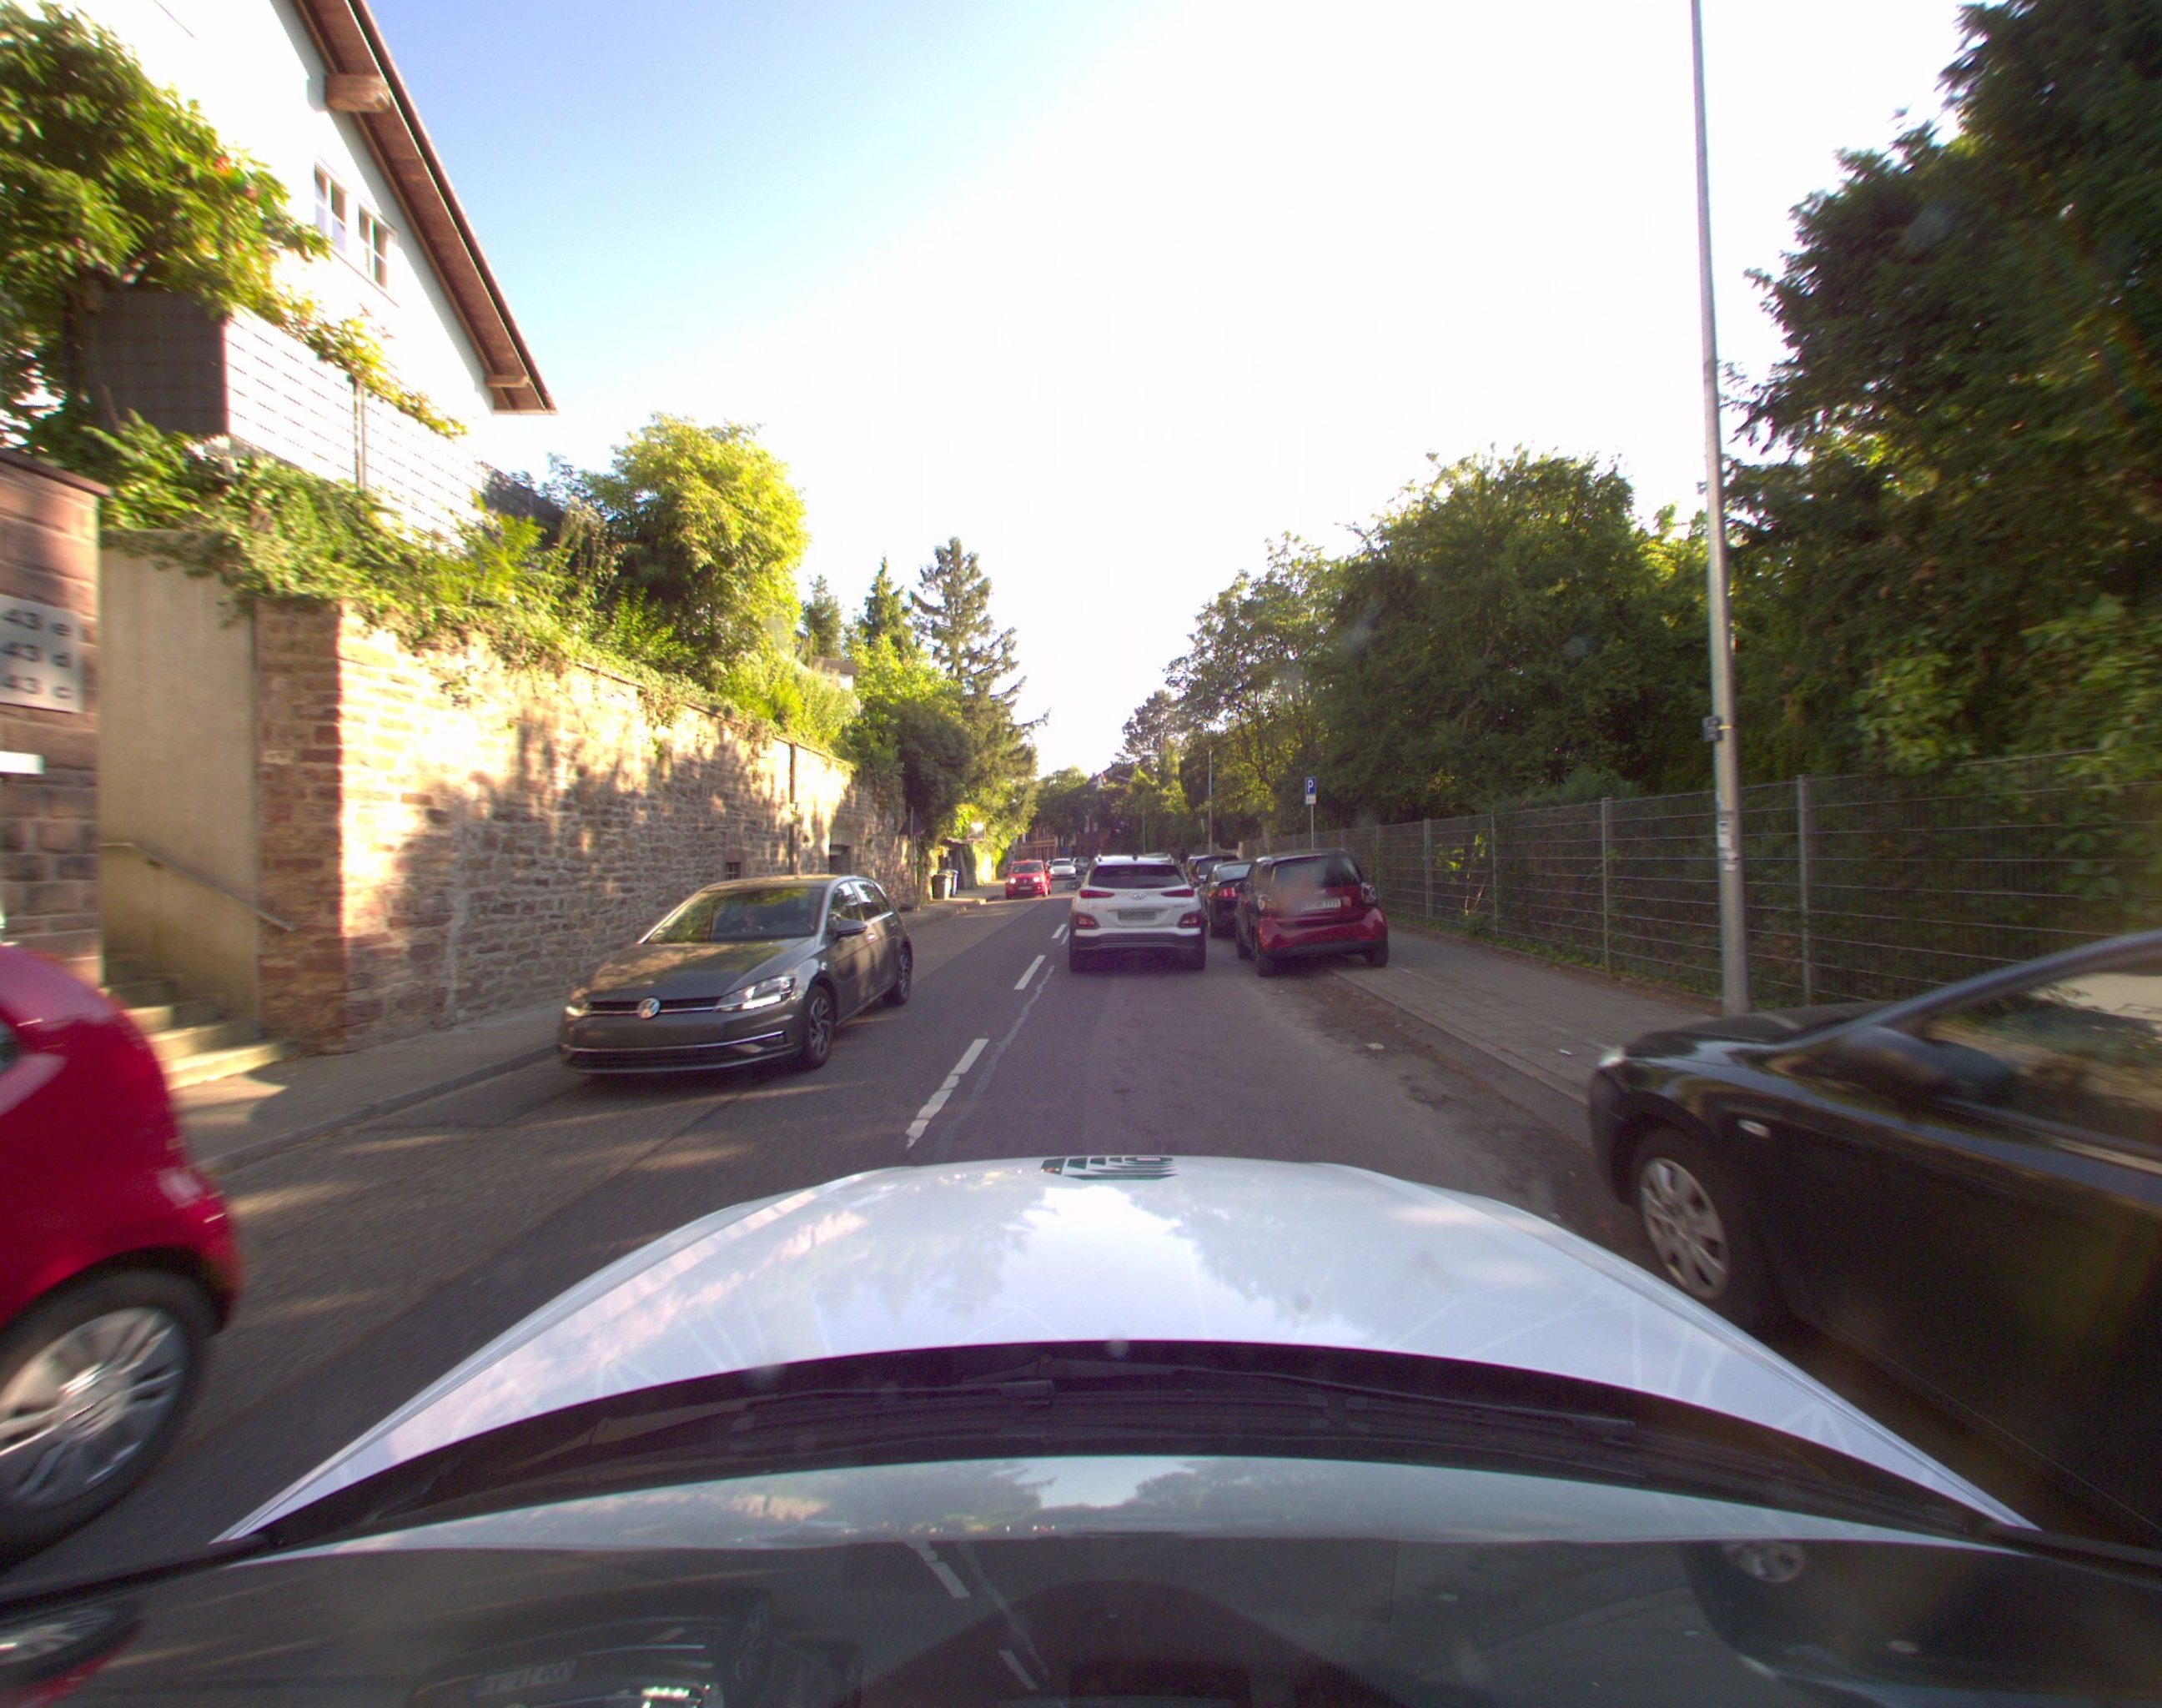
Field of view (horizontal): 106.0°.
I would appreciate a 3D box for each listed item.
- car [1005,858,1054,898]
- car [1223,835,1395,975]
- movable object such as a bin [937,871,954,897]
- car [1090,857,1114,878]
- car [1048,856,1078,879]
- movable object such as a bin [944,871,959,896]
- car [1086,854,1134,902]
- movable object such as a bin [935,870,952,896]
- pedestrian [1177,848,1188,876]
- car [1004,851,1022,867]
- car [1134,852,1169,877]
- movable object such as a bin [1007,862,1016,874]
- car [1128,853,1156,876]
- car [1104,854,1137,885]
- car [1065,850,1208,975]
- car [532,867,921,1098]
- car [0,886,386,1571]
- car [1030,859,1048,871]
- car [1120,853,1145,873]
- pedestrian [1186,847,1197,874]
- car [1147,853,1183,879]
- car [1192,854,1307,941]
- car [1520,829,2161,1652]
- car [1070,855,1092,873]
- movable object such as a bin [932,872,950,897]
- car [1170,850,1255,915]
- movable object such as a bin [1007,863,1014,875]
[{"bbox_3d":[-2.047,0.944,33.210,1.544,1.466,3.570,-3,0,2],"label":"car"},{"bbox_3d":[3.039,0.639,11.418,1.646,1.564,2.875,-6,-1,4],"label":"car"},{"bbox_3d":[-5.215,1.145,31.248,0.571,0.985,0.438,0,-1,-1],"label":"movable object such as a bin"},{"bbox_3d":[1.481,0.967,58.387,1.588,1.461,3.097,-2,0,-1],"label":"car"},{"bbox_3d":[-1.250,0.941,57.722,1.734,1.474,4.002,-5,-1,3],"label":"car"},{"bbox_3d":[-5.067,1.139,31.828,0.488,0.964,0.583,0,0,0],"label":"movable object such as a bin"},{"bbox_3d":[1.050,0.781,28.406,1.505,1.533,3.552,-1,0,4],"label":"car"},{"bbox_3d":[-5.189,1.103,30.759,0.571,0.985,0.438,0,-1,-1],"label":"movable object such as a bin"},{"bbox_3d":[5.995,0.450,47.922,0.501,1.606,0.491,-4,-1,2],"label":"pedestrian"},{"bbox_3d":[-11.288,0.831,135.123,1.933,2.583,4.369,-2,0,-17],"label":"car"},{"bbox_3d":[4.748,0.700,55.456,1.592,1.565,3.991,-3,-1,-6],"label":"car"},{"bbox_3d":[-6.706,1.324,78.174,0.789,1.189,0.773,0,-1,0],"label":"movable object such as a bin"},{"bbox_3d":[4.506,0.786,60.811,1.589,1.519,3.928,-4,-1,-2],"label":"car"},{"bbox_3d":[2.044,0.760,41.701,1.563,1.477,3.552,0,0,4],"label":"car"},{"bbox_3d":[0.788,0.745,12.198,1.765,1.542,4.003,-1,0,3],"label":"car"},{"bbox_3d":[-2.713,0.872,7.299,1.643,1.411,3.931,-2,0,1],"label":"car"},{"bbox_3d":[-3.128,0.834,0.897,1.621,1.422,3.562,-2,0,0],"label":"car"},{"bbox_3d":[-6.026,1.504,116.763,1.759,1.616,3.979,0,0,-15],"label":"car"},{"bbox_3d":[4.192,0.722,66.539,1.589,1.489,3.599,-4,0,-2],"label":"car"},{"bbox_3d":[6.525,0.397,47.898,0.501,1.569,0.504,-4,-1,2],"label":"pedestrian"},{"bbox_3d":[5.117,0.698,49.874,1.681,1.431,3.998,-3,0,-1],"label":"car"},{"bbox_3d":[3.296,0.771,16.748,1.703,1.498,4.819,1,0,4],"label":"car"},{"bbox_3d":[2.779,0.659,1.555,1.787,1.441,4.001,-2,0,2],"label":"car"},{"bbox_3d":[-0.057,0.925,74.957,1.588,1.582,3.352,-1,0,-7],"label":"car"},{"bbox_3d":[-5.195,1.125,30.300,0.582,0.937,0.438,0,-1,-1],"label":"movable object such as a bin"},{"bbox_3d":[3.387,0.688,21.489,1.620,1.509,2.901,-4,0,-2],"label":"car"},{"bbox_3d":[-5.901,1.264,68.100,0.493,1.011,1.113,0,-1,2],"label":"movable object such as a bin"}]
